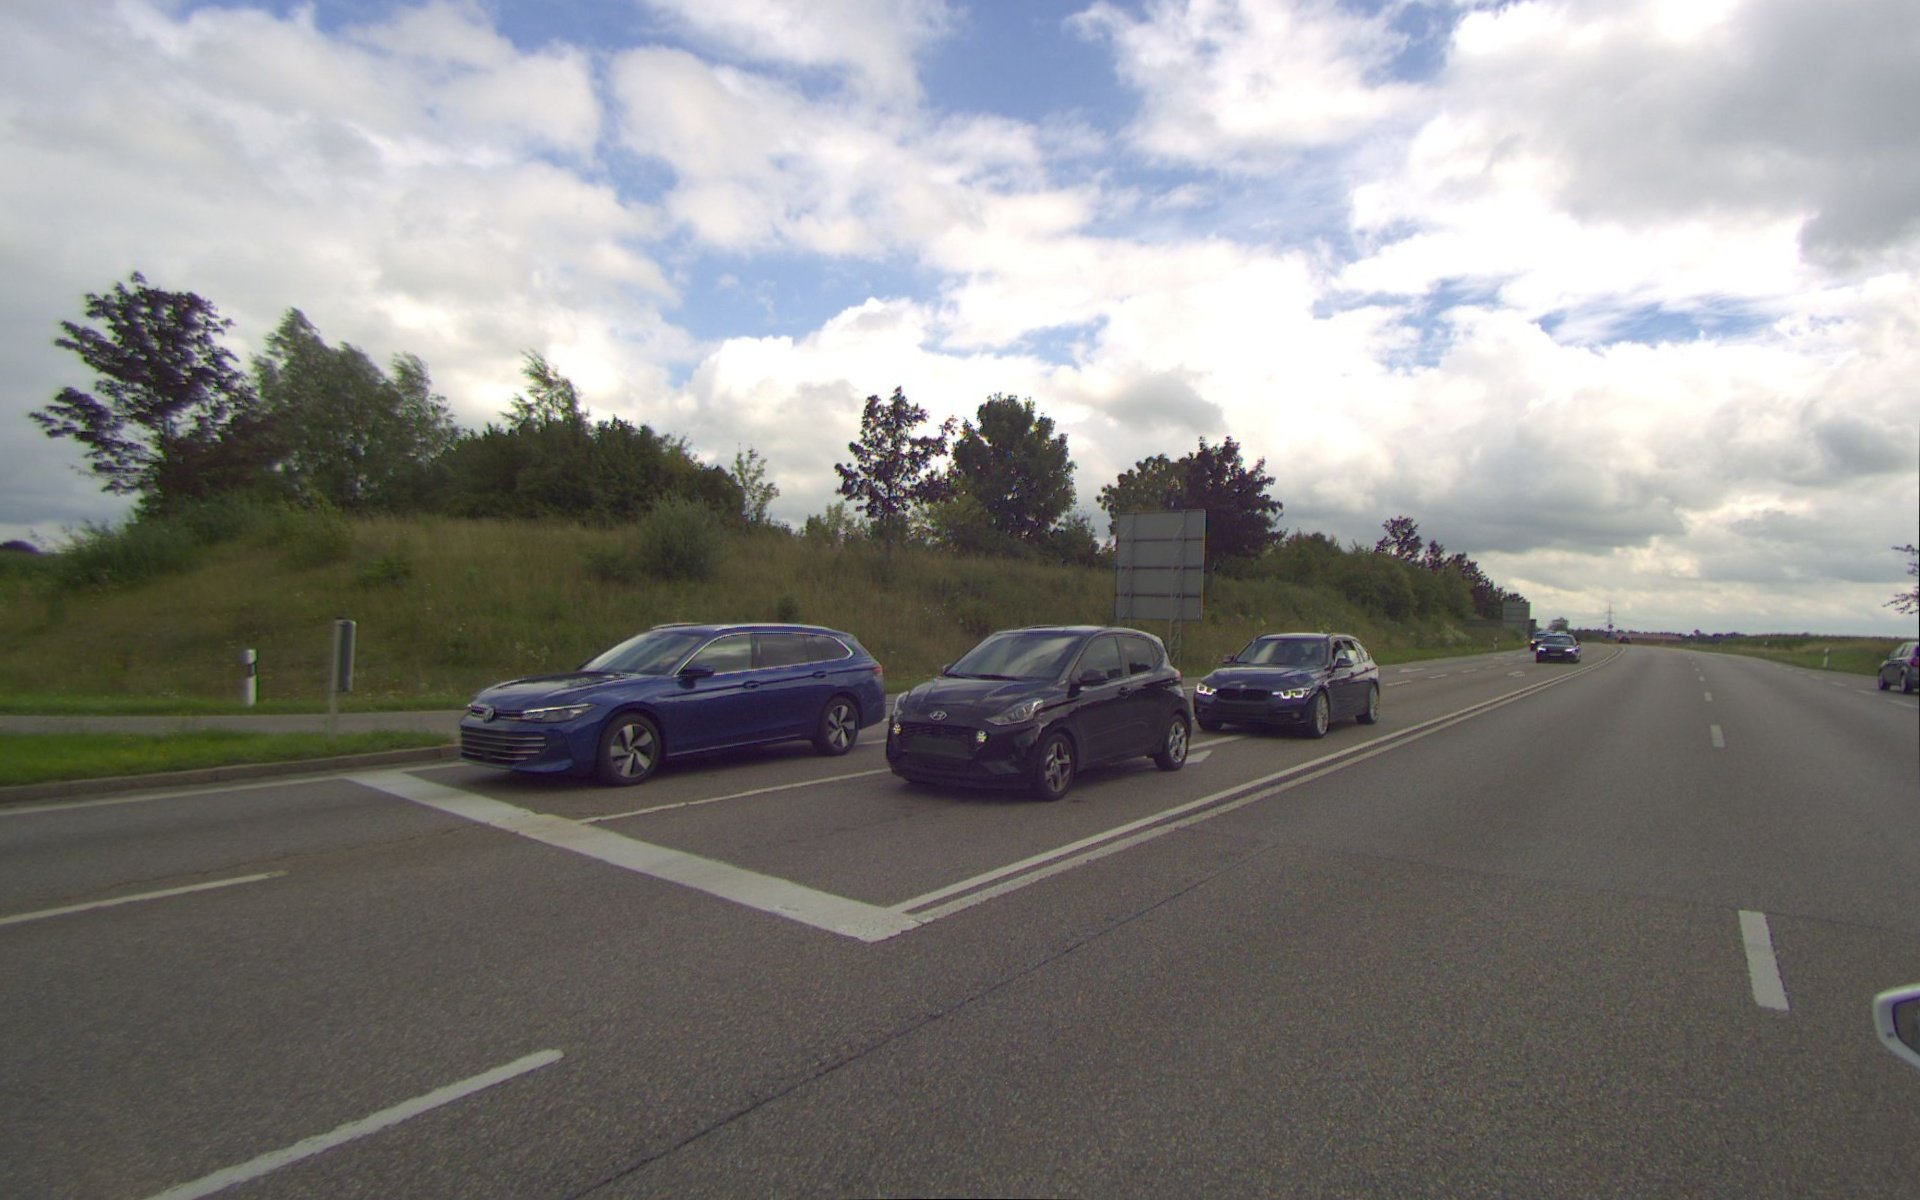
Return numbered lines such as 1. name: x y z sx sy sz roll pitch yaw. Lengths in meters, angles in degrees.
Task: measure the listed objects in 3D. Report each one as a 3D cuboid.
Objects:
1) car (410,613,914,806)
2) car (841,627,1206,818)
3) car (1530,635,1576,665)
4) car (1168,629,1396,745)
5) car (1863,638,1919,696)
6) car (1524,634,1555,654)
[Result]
1. car: -2.851 0.969 10.904 2.018 1.555 5.111 0 -1 35
2. car: 0.816 1.015 9.896 1.704 1.462 3.928 0 -1 37
3. car: 30.503 2.548 51.610 1.741 1.401 4.530 1 -1 34
4. car: 5.187 1.222 15.705 2.022 1.503 4.865 -1 -2 36
5. car: 27.666 1.913 28.838 1.966 1.555 3.989 2 -1 33
6. car: 46.860 3.492 81.182 1.965 1.514 4.980 0 -1 32
